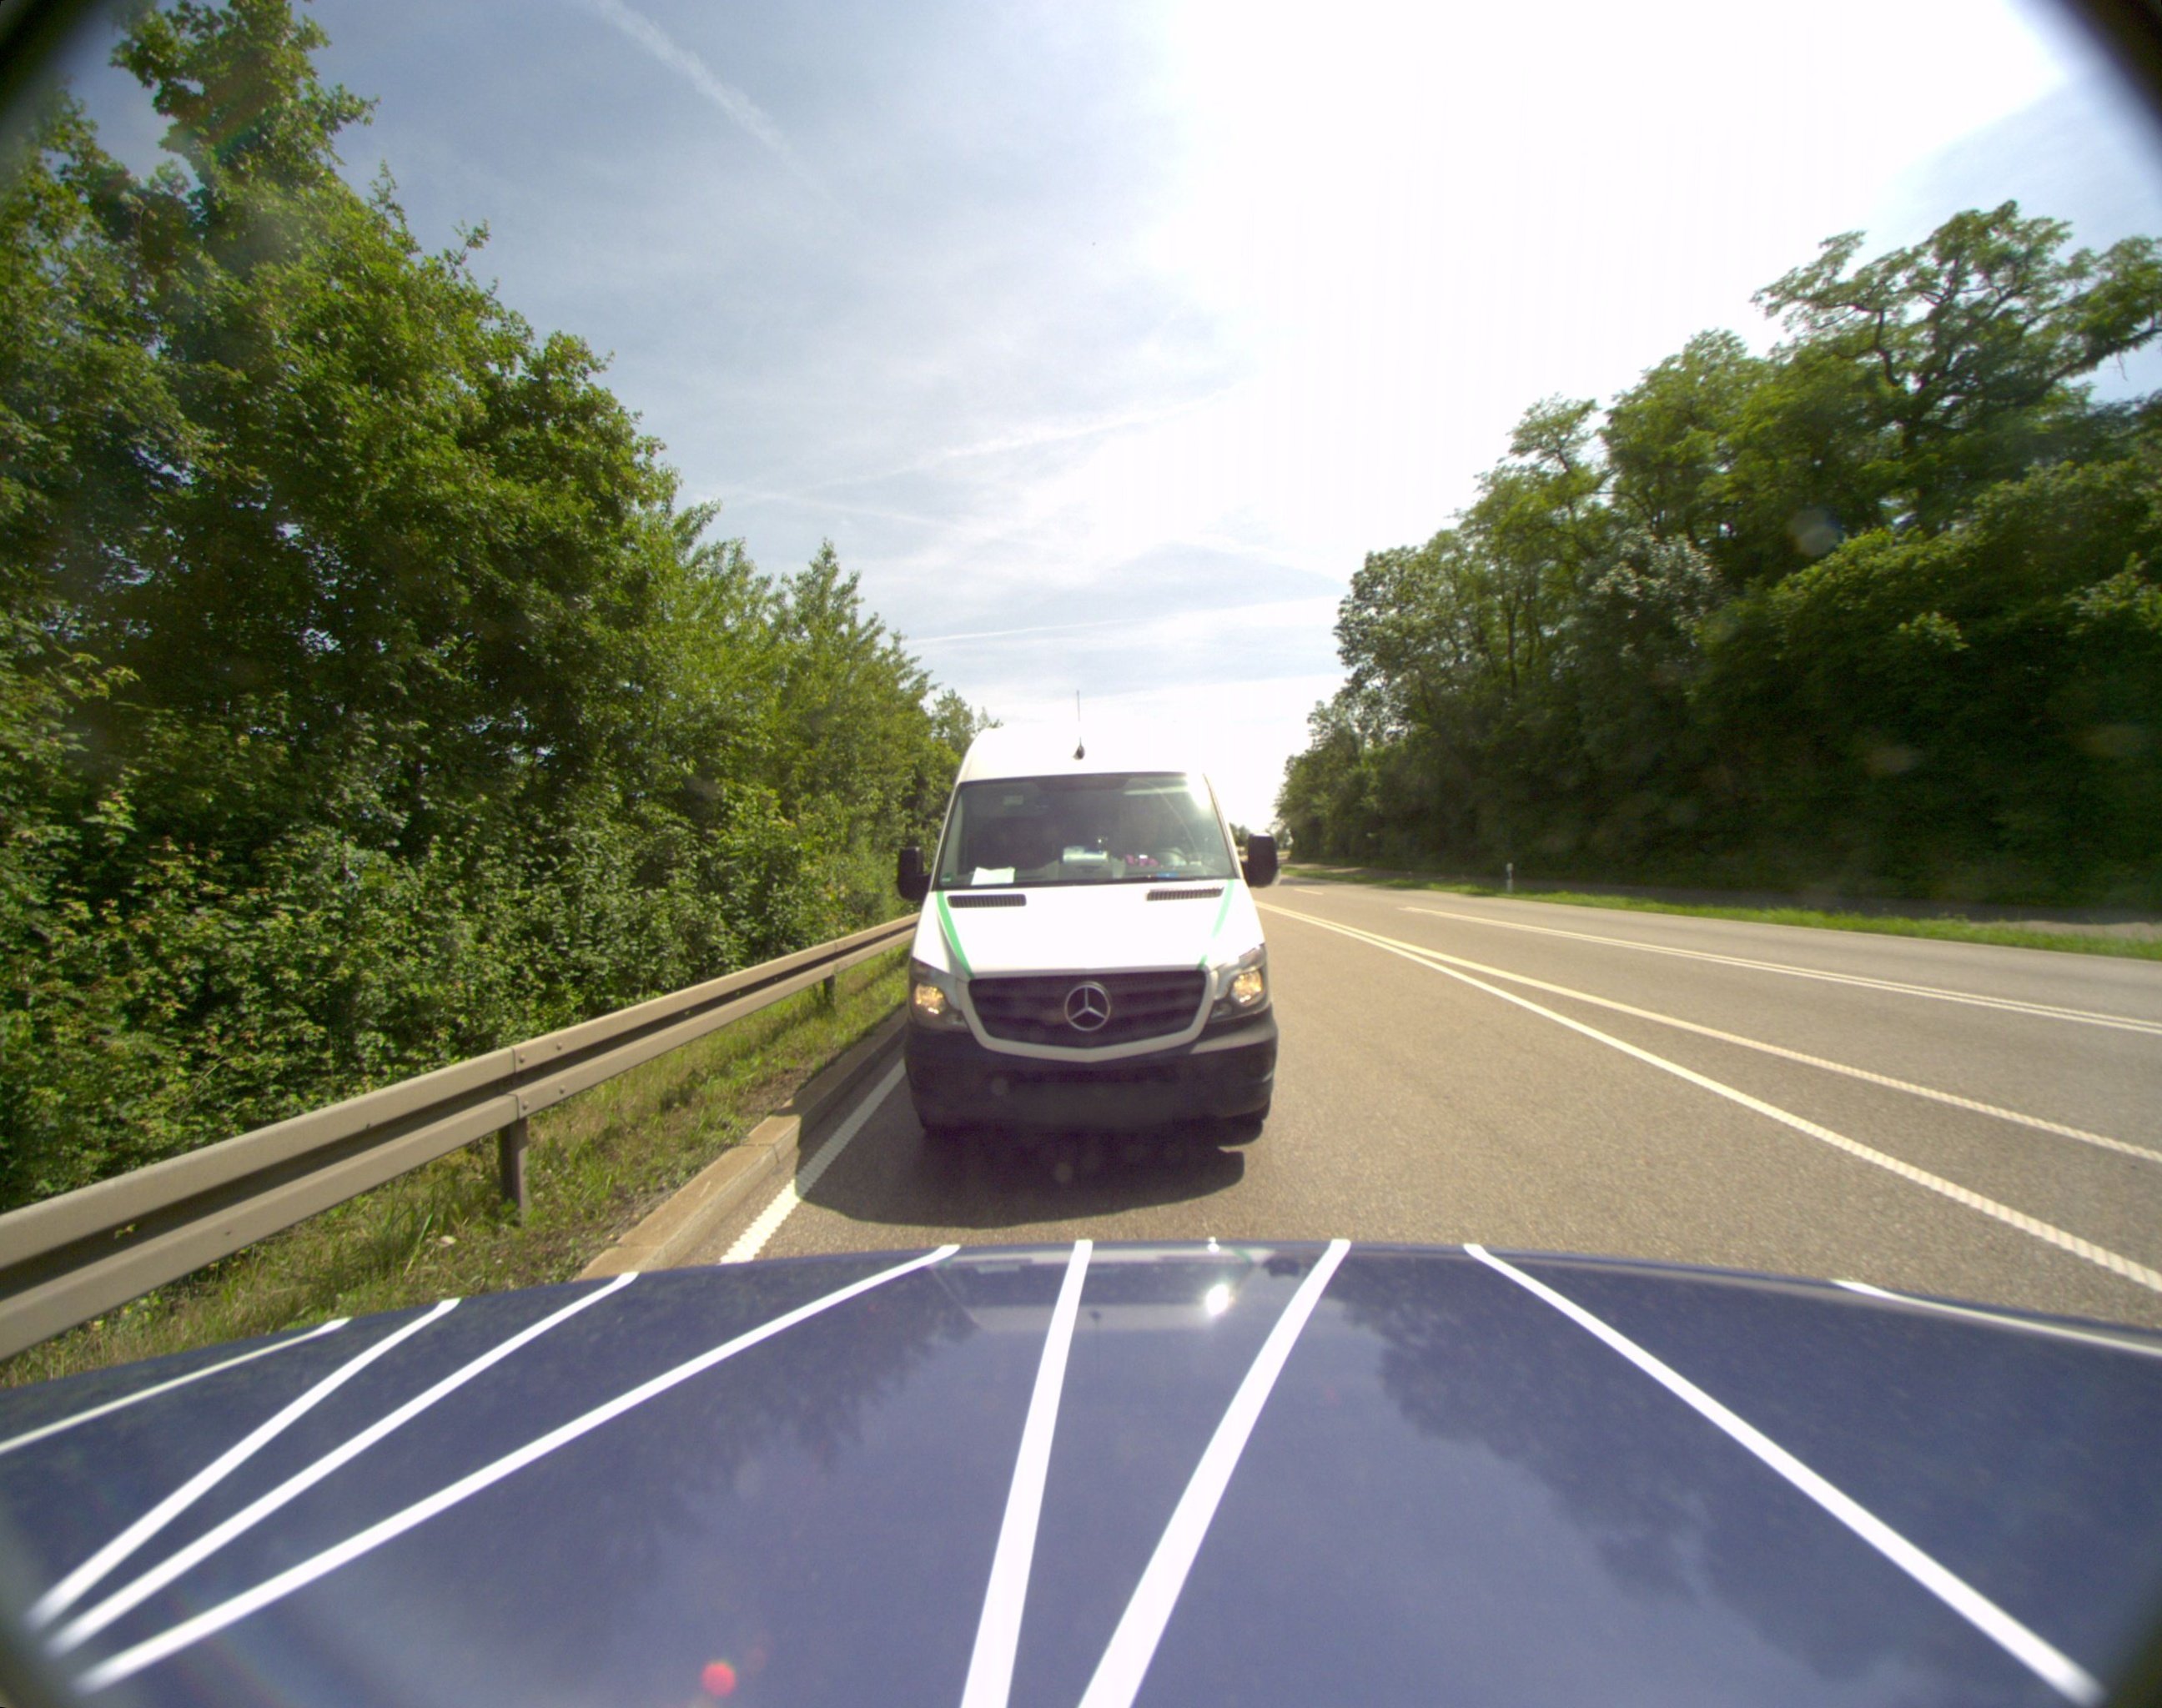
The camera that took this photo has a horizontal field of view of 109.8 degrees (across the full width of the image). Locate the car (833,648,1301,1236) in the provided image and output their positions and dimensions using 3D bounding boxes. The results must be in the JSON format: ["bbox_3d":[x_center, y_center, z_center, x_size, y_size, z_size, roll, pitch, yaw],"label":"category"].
[{"bbox_3d":[0.021,0.401,5.930,1.958,2.502,5.267,-2,0,2],"label":"car"}]

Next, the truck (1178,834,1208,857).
[{"bbox_3d":[23.331,-1.699,157.372,4.393,4.433,14.727,-2,0,15],"label":"truck"}]

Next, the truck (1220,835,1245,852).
[{"bbox_3d":[40.147,-2.779,201.308,3.980,4.433,14.361,-2,0,21],"label":"truck"}]

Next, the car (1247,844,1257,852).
[{"bbox_3d":[49.795,-1.755,221.132,1.915,2.002,4.182,-1,1,25],"label":"car"}]
